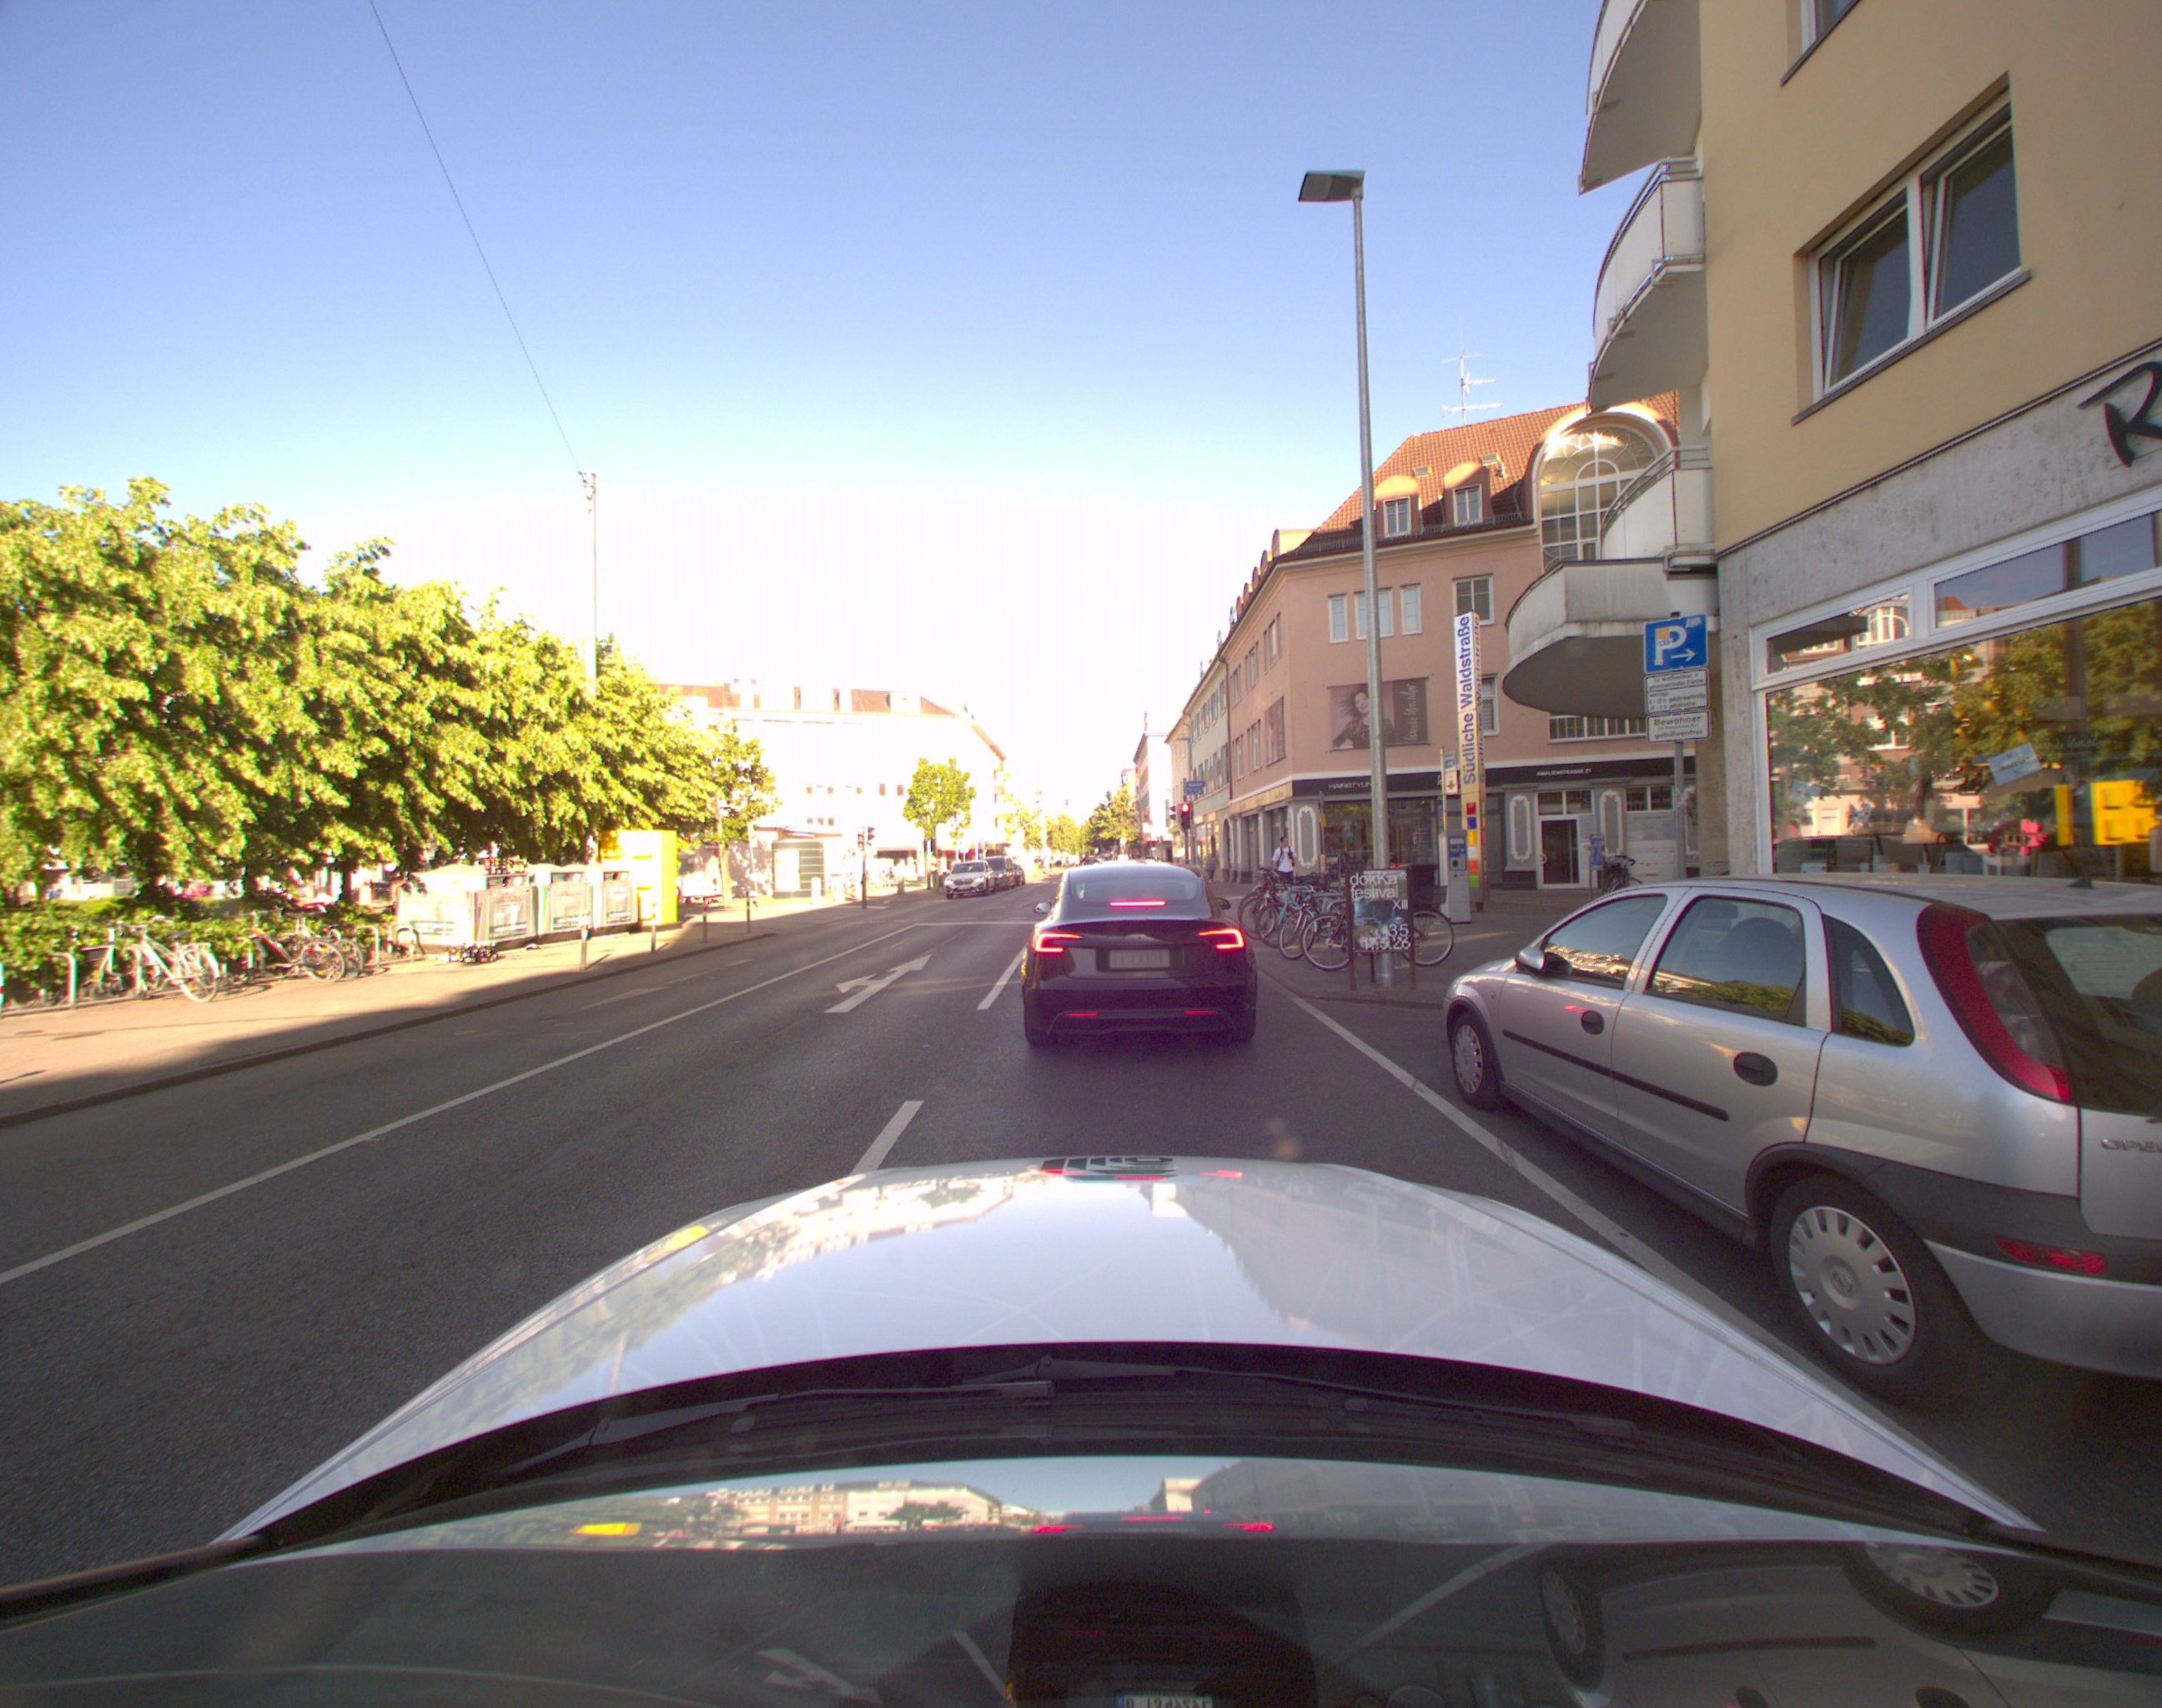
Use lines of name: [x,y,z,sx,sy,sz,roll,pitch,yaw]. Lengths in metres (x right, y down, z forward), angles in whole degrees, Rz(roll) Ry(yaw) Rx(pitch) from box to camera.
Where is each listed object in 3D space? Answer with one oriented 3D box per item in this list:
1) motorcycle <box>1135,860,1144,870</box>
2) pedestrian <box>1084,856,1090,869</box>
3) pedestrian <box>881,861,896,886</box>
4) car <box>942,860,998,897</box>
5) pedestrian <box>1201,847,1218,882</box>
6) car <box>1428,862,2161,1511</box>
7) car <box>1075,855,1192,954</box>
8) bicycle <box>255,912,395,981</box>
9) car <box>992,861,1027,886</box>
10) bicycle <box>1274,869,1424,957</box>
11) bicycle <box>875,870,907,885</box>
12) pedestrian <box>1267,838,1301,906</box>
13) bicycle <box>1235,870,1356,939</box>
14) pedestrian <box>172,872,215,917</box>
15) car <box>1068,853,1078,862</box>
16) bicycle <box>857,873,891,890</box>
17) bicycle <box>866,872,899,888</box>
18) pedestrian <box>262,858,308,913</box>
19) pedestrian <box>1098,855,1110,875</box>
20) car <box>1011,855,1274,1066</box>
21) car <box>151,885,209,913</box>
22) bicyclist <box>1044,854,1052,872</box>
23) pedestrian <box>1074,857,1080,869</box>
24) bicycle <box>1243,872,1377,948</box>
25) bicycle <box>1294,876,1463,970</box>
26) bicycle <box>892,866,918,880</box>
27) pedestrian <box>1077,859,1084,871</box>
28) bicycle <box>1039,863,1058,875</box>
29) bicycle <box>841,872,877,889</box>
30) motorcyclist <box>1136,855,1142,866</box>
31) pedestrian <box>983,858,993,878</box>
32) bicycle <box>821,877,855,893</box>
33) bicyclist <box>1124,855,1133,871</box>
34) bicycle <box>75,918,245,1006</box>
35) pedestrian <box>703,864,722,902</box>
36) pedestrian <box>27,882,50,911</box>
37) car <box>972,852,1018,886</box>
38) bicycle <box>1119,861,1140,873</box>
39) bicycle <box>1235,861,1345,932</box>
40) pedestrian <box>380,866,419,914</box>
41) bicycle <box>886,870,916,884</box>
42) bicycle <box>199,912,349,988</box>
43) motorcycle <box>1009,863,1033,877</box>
motorcycle: [6.420,1.188,89.368,0.985,1.086,0.352,0,-1,-35]
pedestrian: [0.662,0.968,92.974,0.524,1.422,0.475,0,-1,-28]
pedestrian: [-15.375,1.551,65.132,1.060,2.014,1.049,0,-1,-18]
car: [-4.887,1.049,36.460,1.782,1.460,3.759,-4,-1,2]
pedestrian: [6.412,0.510,40.681,0.704,1.742,0.540,-1,0,1]
car: [2.951,0.749,3.517,1.540,1.390,3.479,-1,-1,3]
car: [0.793,0.751,13.966,1.712,1.425,3.757,-1,0,0]
bicycle: [-11.323,1.372,12.206,1.888,0.955,0.518,-1,-1,11]
car: [-4.330,1.168,49.860,1.709,1.446,3.846,0,-1,2]
bicycle: [3.646,0.808,11.171,1.864,1.087,0.415,-3,-1,5]
bicycle: [-12.268,1.535,52.624,1.857,0.934,0.606,-1,0,0]
pedestrian: [5.340,0.470,21.426,0.747,1.765,0.838,0,-1,6]
bicycle: [3.579,0.843,13.676,1.863,1.038,0.548,-3,-1,7]
pedestrian: [-40.836,1.835,37.491,1.145,2.013,1.040,-1,0,26]
car: [-1.880,0.888,187.495,1.986,2.013,4.002,-1,0,2]
bicycle: [-12.140,1.616,47.805,1.857,0.934,0.606,0,-1,0]
bicycle: [-12.264,1.607,50.283,1.857,0.934,0.606,0,-1,0]
pedestrian: [-29.840,1.180,30.540,0.890,2.013,0.893,-1,0,15]
pedestrian: [1.920,0.942,67.756,0.756,1.631,0.951,0,-1,-16]
car: [0.493,0.763,7.717,1.815,1.442,4.001,-1,-1,2]
car: [-48.363,2.394,43.704,3.526,1.386,1.703,-1,0,36]
bicyclist: [-2.819,0.790,69.699,0.525,1.503,0.473,0,-1,-22]
pedestrian: [-0.448,1.003,92.362,0.524,1.422,0.475,0,-1,-28]
bicycle: [3.490,0.854,12.498,1.864,1.038,0.534,-3,-1,5]
bicycle: [3.617,0.840,9.989,1.862,1.038,0.354,-3,-1,8]
bicycle: [-16.963,1.818,78.599,2.373,1.296,0.509,0,-1,-25]
pedestrian: [-0.058,1.283,93.302,0.524,1.422,0.475,0,-1,-28]
bicycle: [-2.789,1.279,69.705,1.562,1.012,0.480,0,-1,-22]
bicycle: [-12.423,1.479,45.656,1.857,0.934,0.606,-1,-1,0]
motorcyclist: [6.348,0.702,89.325,0.493,1.253,0.351,0,-1,-36]
pedestrian: [-7.206,1.099,63.044,0.623,1.538,0.511,0,-1,-17]
bicycle: [-12.840,1.634,43.085,1.640,0.792,0.606,0,-1,-3]
bicyclist: [4.081,0.771,70.474,0.670,1.395,0.460,0,-1,-14]
bicycle: [-11.625,1.341,10.283,1.919,1.015,0.518,-1,-1,12]
pedestrian: [-16.901,1.342,37.362,0.472,1.716,0.713,-1,-1,12]
pedestrian: [-77.692,3.153,60.698,0.891,2.171,0.882,-1,-1,26]
car: [-4.458,0.738,42.716,1.780,1.646,4.404,-1,0,2]
bicycle: [4.222,1.112,70.506,1.787,1.007,0.469,0,-1,-15]
bicycle: [3.776,0.762,14.793,1.818,1.169,0.507,-3,-1,7]
pedestrian: [-24.596,1.287,29.392,0.754,1.698,0.793,-1,0,25]
bicycle: [-12.188,1.554,55.072,1.857,0.934,0.606,-1,0,0]
bicycle: [-11.541,1.351,11.653,1.913,1.003,0.518,-1,-1,11]
motorcycle: [-4.948,1.290,67.184,1.940,1.110,0.513,-1,0,-34]
